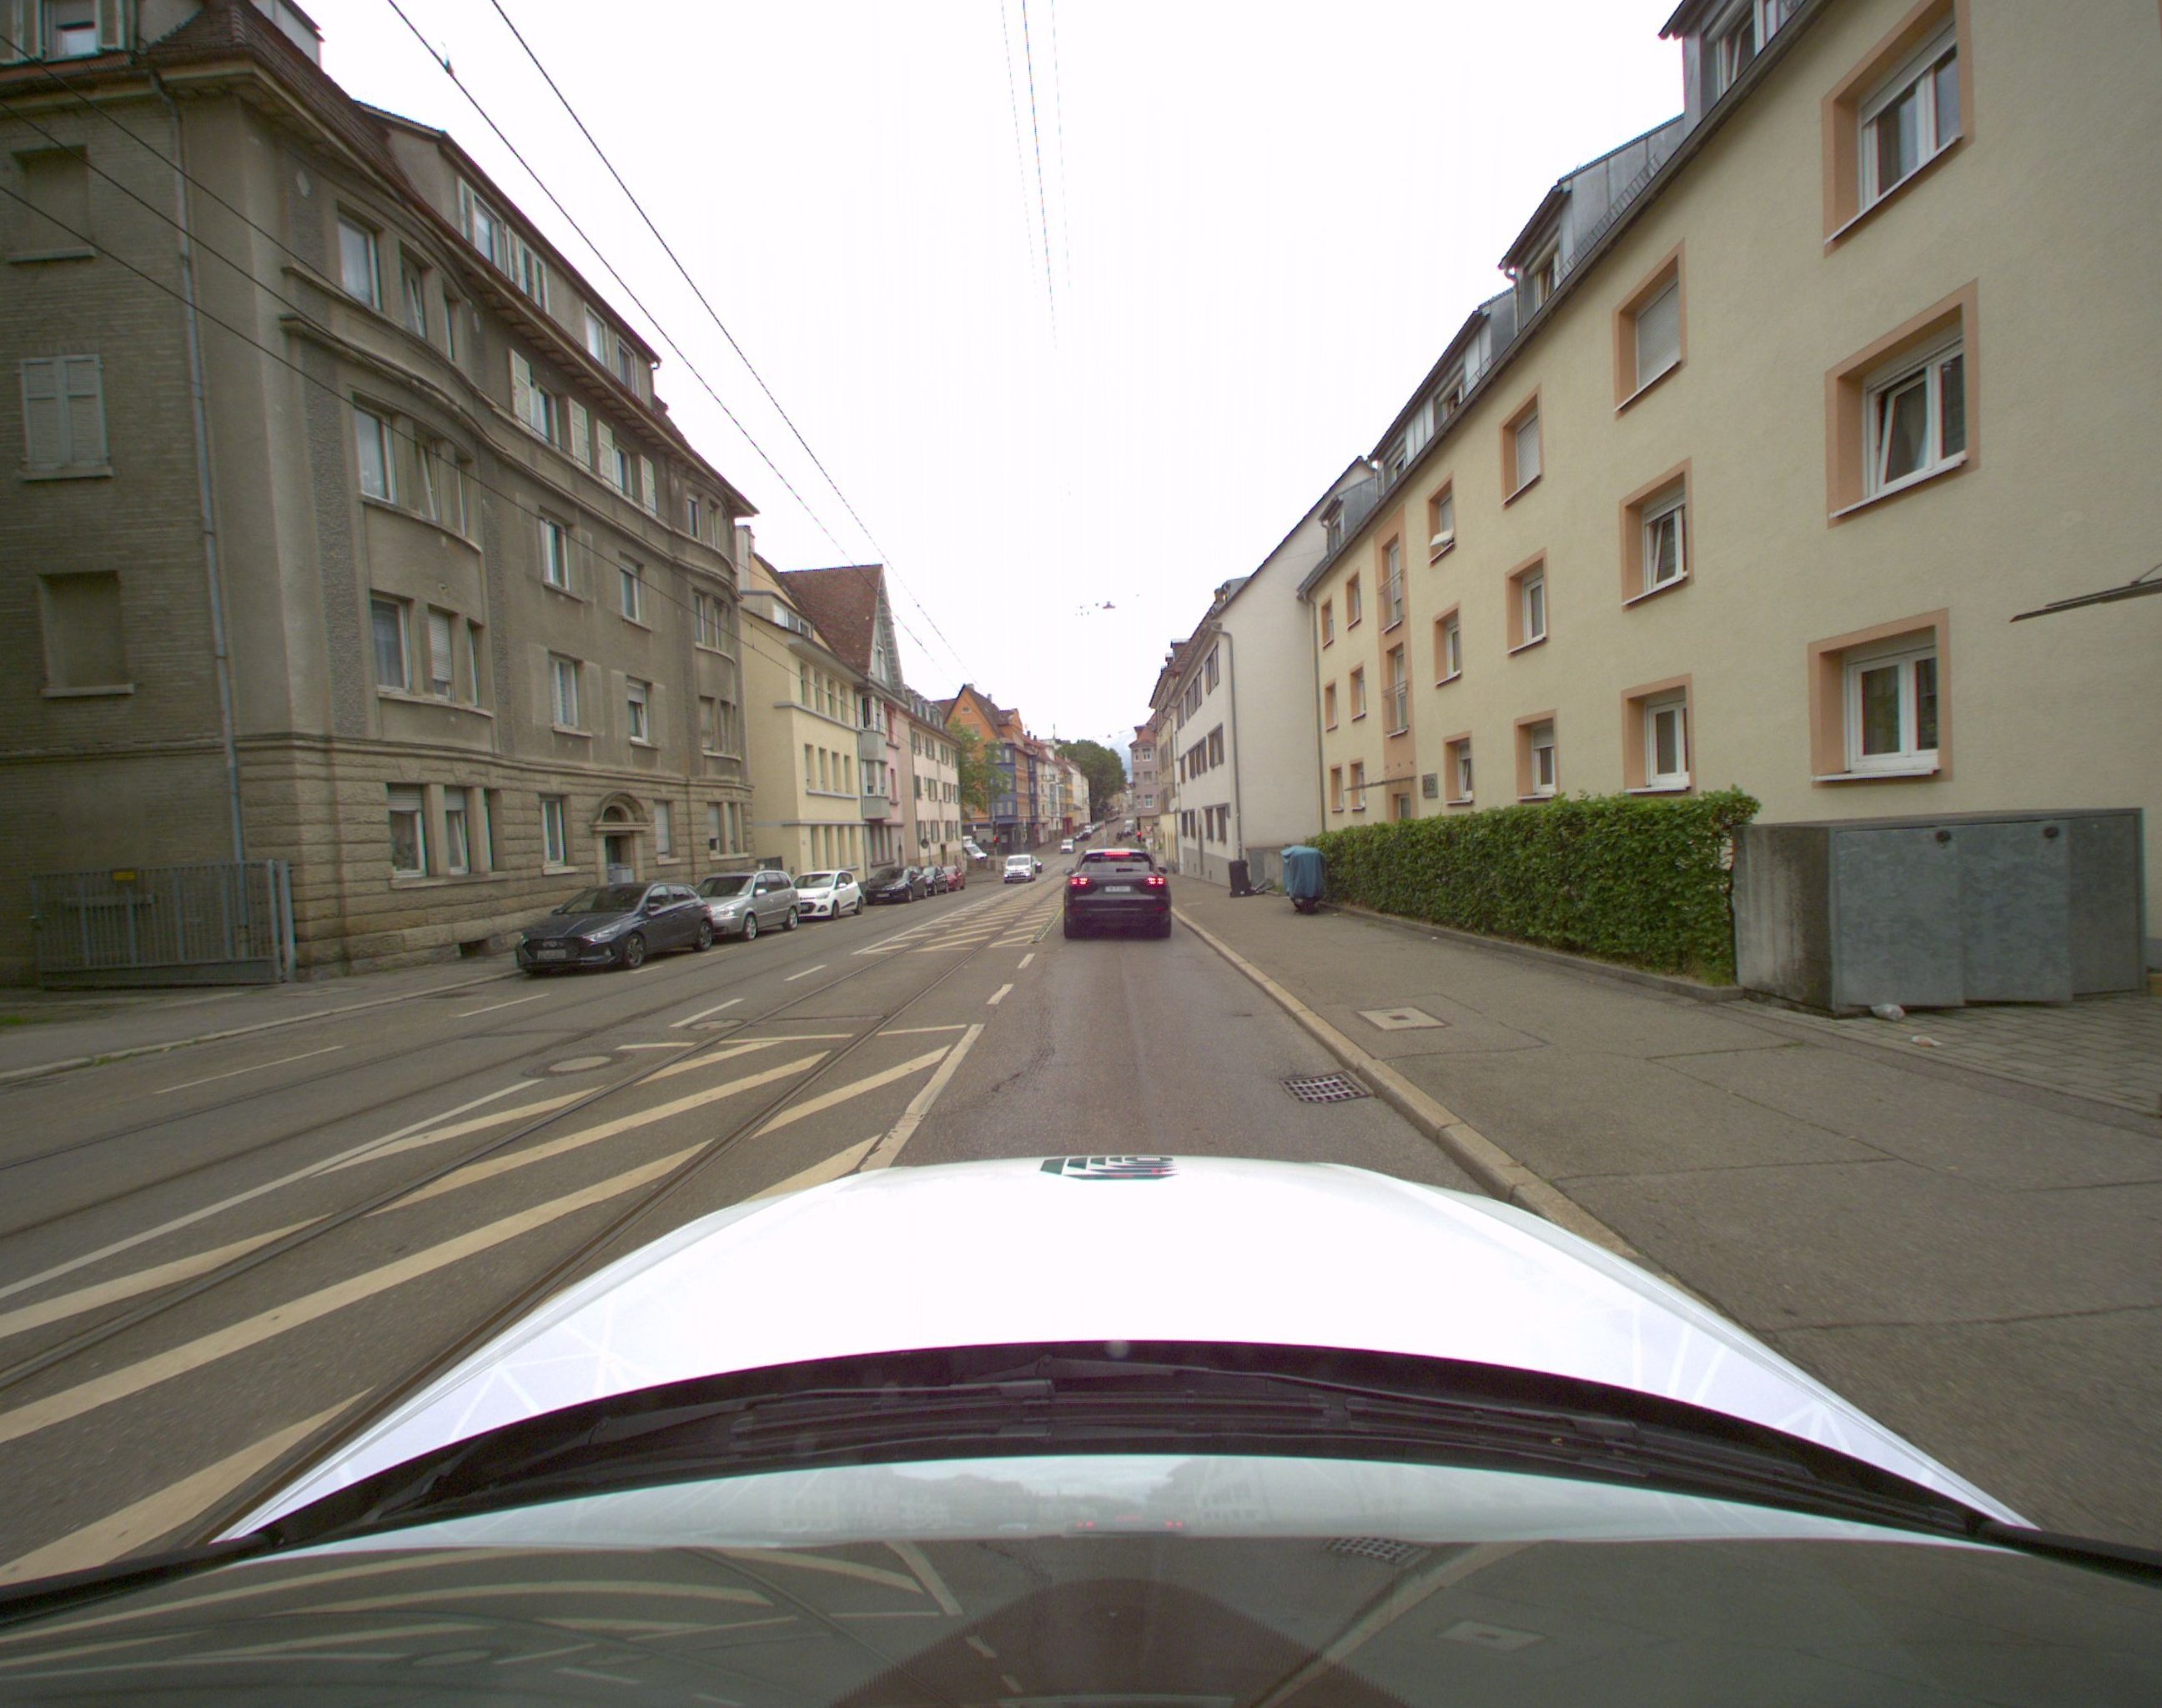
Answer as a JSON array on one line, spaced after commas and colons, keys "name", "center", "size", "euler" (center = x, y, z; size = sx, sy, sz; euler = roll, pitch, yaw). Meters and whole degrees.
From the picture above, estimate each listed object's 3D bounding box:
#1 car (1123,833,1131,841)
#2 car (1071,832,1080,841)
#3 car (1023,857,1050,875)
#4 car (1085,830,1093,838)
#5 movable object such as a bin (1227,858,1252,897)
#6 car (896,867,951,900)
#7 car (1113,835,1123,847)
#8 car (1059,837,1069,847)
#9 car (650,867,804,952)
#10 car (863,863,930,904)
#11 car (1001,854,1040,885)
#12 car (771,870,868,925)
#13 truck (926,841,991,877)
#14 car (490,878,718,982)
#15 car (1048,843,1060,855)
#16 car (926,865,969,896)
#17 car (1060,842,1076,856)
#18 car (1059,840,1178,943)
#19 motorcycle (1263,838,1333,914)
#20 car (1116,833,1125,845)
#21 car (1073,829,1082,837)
[{"name": "car", "center": [8.847, -3.274, 157.279], "size": [1.389, 1.450, 3.361], "euler": [-3, -1, 2]}, {"name": "car", "center": [-0.936, -3.142, 146.436], "size": [1.389, 1.450, 3.361], "euler": [-3, -1, 2]}, {"name": "car", "center": [-3.768, 0.995, 70.257], "size": [1.914, 1.424, 4.499], "euler": [-3, 0, 1]}, {"name": "car", "center": [1.686, -4.207, 169.449], "size": [1.389, 1.450, 3.361], "euler": [-3, -1, 2]}, {"name": "movable object such as a bin", "center": [4.651, 0.685, 23.949], "size": [0.586, 1.080, 0.692], "euler": [-3, -1, 3]}, {"name": "car", "center": [-7.568, 1.402, 39.513], "size": [1.729, 1.410, 4.002], "euler": [-3, -1, 2]}, {"name": "car", "center": [5.668, -1.946, 124.939], "size": [1.389, 1.722, 3.361], "euler": [-3, -1, 2]}, {"name": "car", "center": [-2.716, -1.985, 131.605], "size": [1.389, 1.450, 3.361], "euler": [-3, -1, 2]}, {"name": "car", "center": [-8.183, 1.201, 19.283], "size": [1.615, 1.604, 4.351], "euler": [-4, 0, 0]}, {"name": "car", "center": [-7.547, 1.179, 33.697], "size": [1.615, 1.473, 4.555], "euler": [-4, -1, 0]}, {"name": "car", "center": [-3.899, 0.978, 52.853], "size": [1.913, 1.819, 4.220], "euler": [-3, -1, 3]}, {"name": "car", "center": [-8.018, 1.286, 25.276], "size": [1.614, 1.463, 3.686], "euler": [-4, -1, 2]}, {"name": "truck", "center": [-12.813, 0.535, 85.185], "size": [6.322, 3.371, 2.361], "euler": [-3, -1, 25]}, {"name": "car", "center": [-8.308, 1.240, 14.664], "size": [1.615, 1.463, 4.032], "euler": [-4, -1, 0]}, {"name": "car", "center": [-3.934, -0.721, 118.748], "size": [1.389, 1.722, 3.361], "euler": [-3, -1, 2]}, {"name": "car", "center": [-7.330, 1.441, 45.056], "size": [1.615, 1.490, 4.047], "euler": [-4, -1, 0]}, {"name": "car", "center": [-1.768, -0.696, 109.725], "size": [1.744, 1.760, 4.256], "euler": [-3, -1, 2]}, {"name": "car", "center": [0.702, 0.658, 16.094], "size": [1.986, 1.676, 4.001], "euler": [-3, -1, 1]}, {"name": "motorcycle", "center": [4.516, 0.435, 17.152], "size": [0.835, 1.456, 2.554], "euler": [-3, -1, 3]}, {"name": "car", "center": [6.384, -2.379, 131.812], "size": [1.389, 1.722, 3.361], "euler": [-3, -1, 2]}, {"name": "car", "center": [-0.700, -3.959, 152.740], "size": [1.389, 1.450, 3.361], "euler": [-3, -1, 2]}]
